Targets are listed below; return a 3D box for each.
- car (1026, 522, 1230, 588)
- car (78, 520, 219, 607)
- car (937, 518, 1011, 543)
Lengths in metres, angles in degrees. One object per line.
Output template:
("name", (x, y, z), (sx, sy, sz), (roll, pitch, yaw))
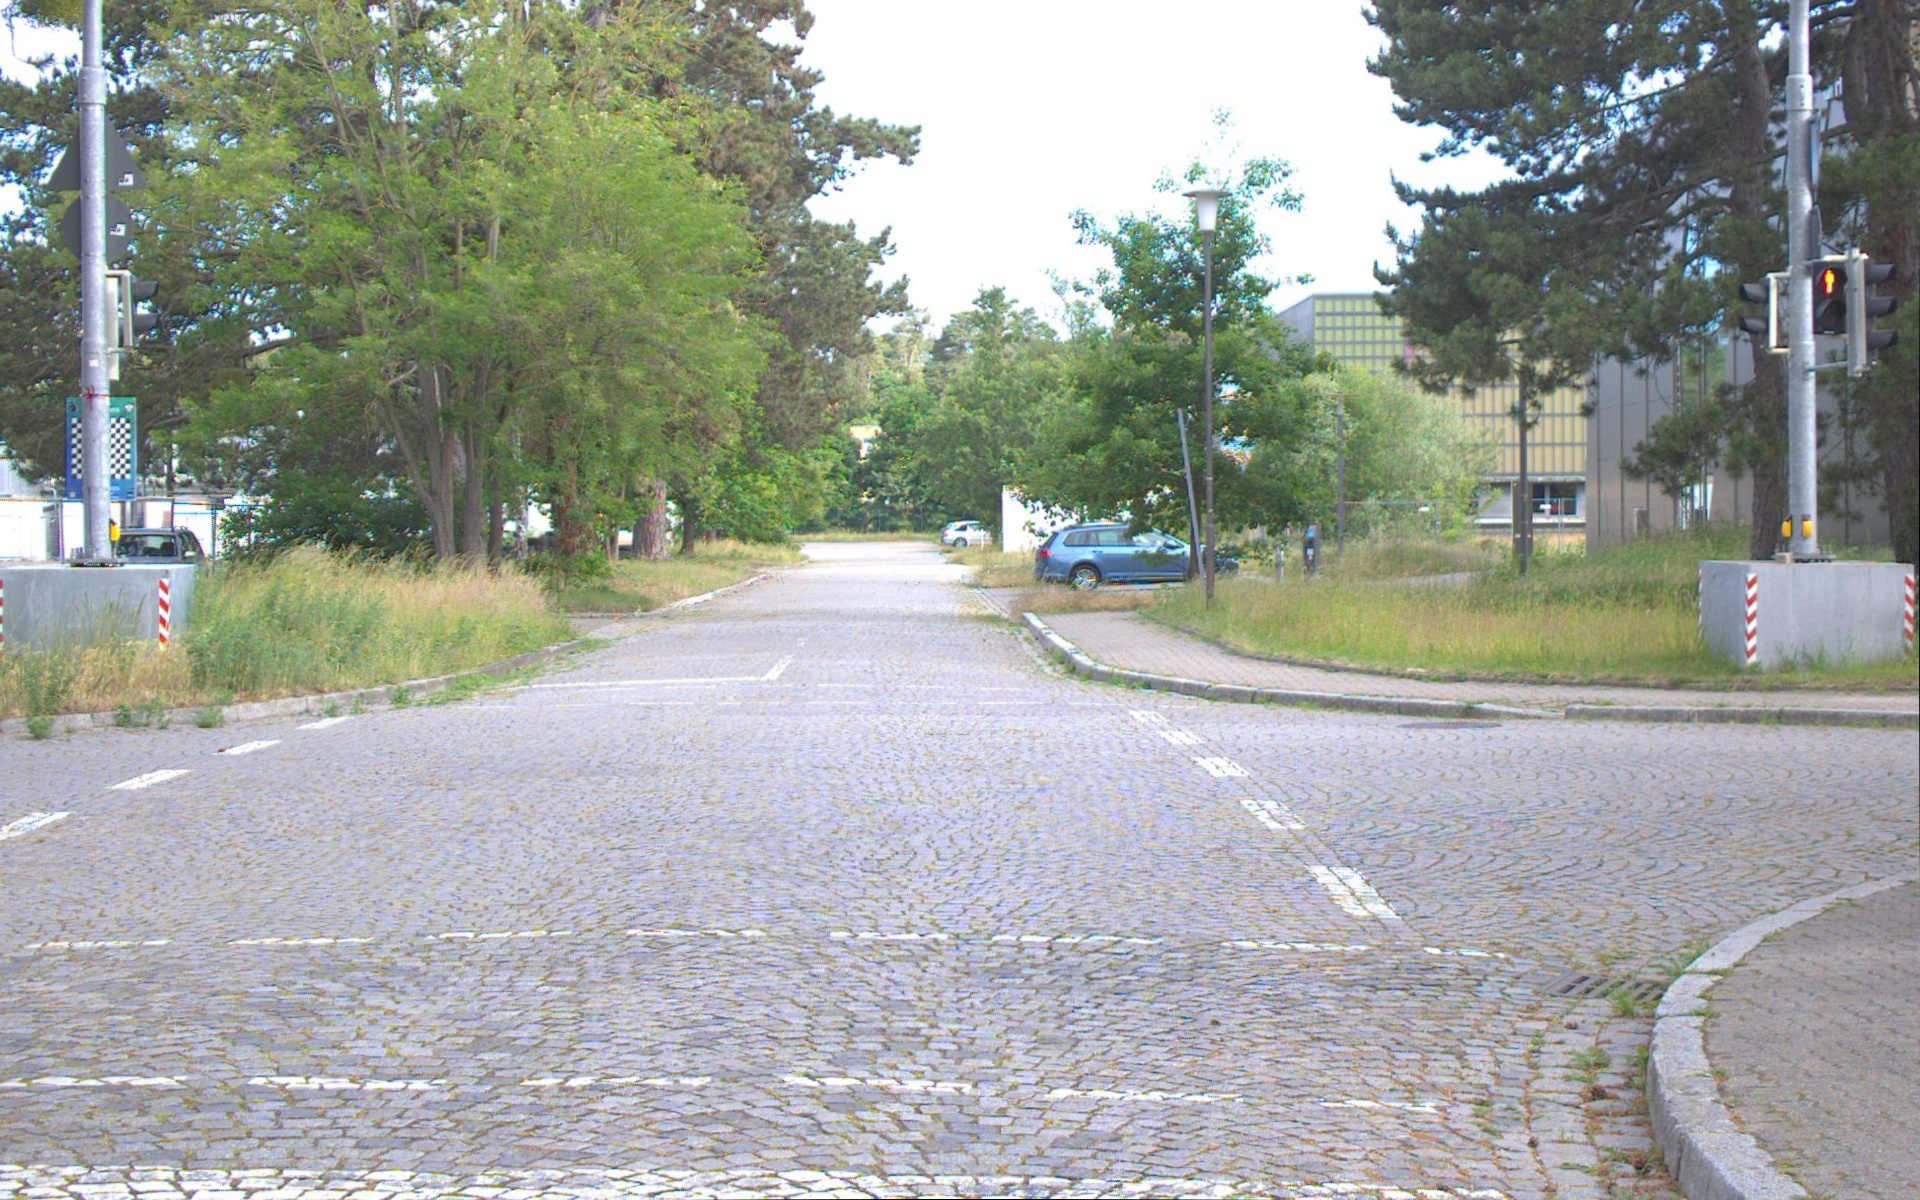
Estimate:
("car", (3.696, -1.008, 76.228), (4.343, 1.417, 2.000), (0, 1, -3))
("car", (-14.398, -0.670, 61.152), (1.613, 1.482, 4.000), (0, 1, -1))
("car", (0.773, -3.923, 193.264), (3.986, 1.393, 2.001), (-1, 2, -6))
